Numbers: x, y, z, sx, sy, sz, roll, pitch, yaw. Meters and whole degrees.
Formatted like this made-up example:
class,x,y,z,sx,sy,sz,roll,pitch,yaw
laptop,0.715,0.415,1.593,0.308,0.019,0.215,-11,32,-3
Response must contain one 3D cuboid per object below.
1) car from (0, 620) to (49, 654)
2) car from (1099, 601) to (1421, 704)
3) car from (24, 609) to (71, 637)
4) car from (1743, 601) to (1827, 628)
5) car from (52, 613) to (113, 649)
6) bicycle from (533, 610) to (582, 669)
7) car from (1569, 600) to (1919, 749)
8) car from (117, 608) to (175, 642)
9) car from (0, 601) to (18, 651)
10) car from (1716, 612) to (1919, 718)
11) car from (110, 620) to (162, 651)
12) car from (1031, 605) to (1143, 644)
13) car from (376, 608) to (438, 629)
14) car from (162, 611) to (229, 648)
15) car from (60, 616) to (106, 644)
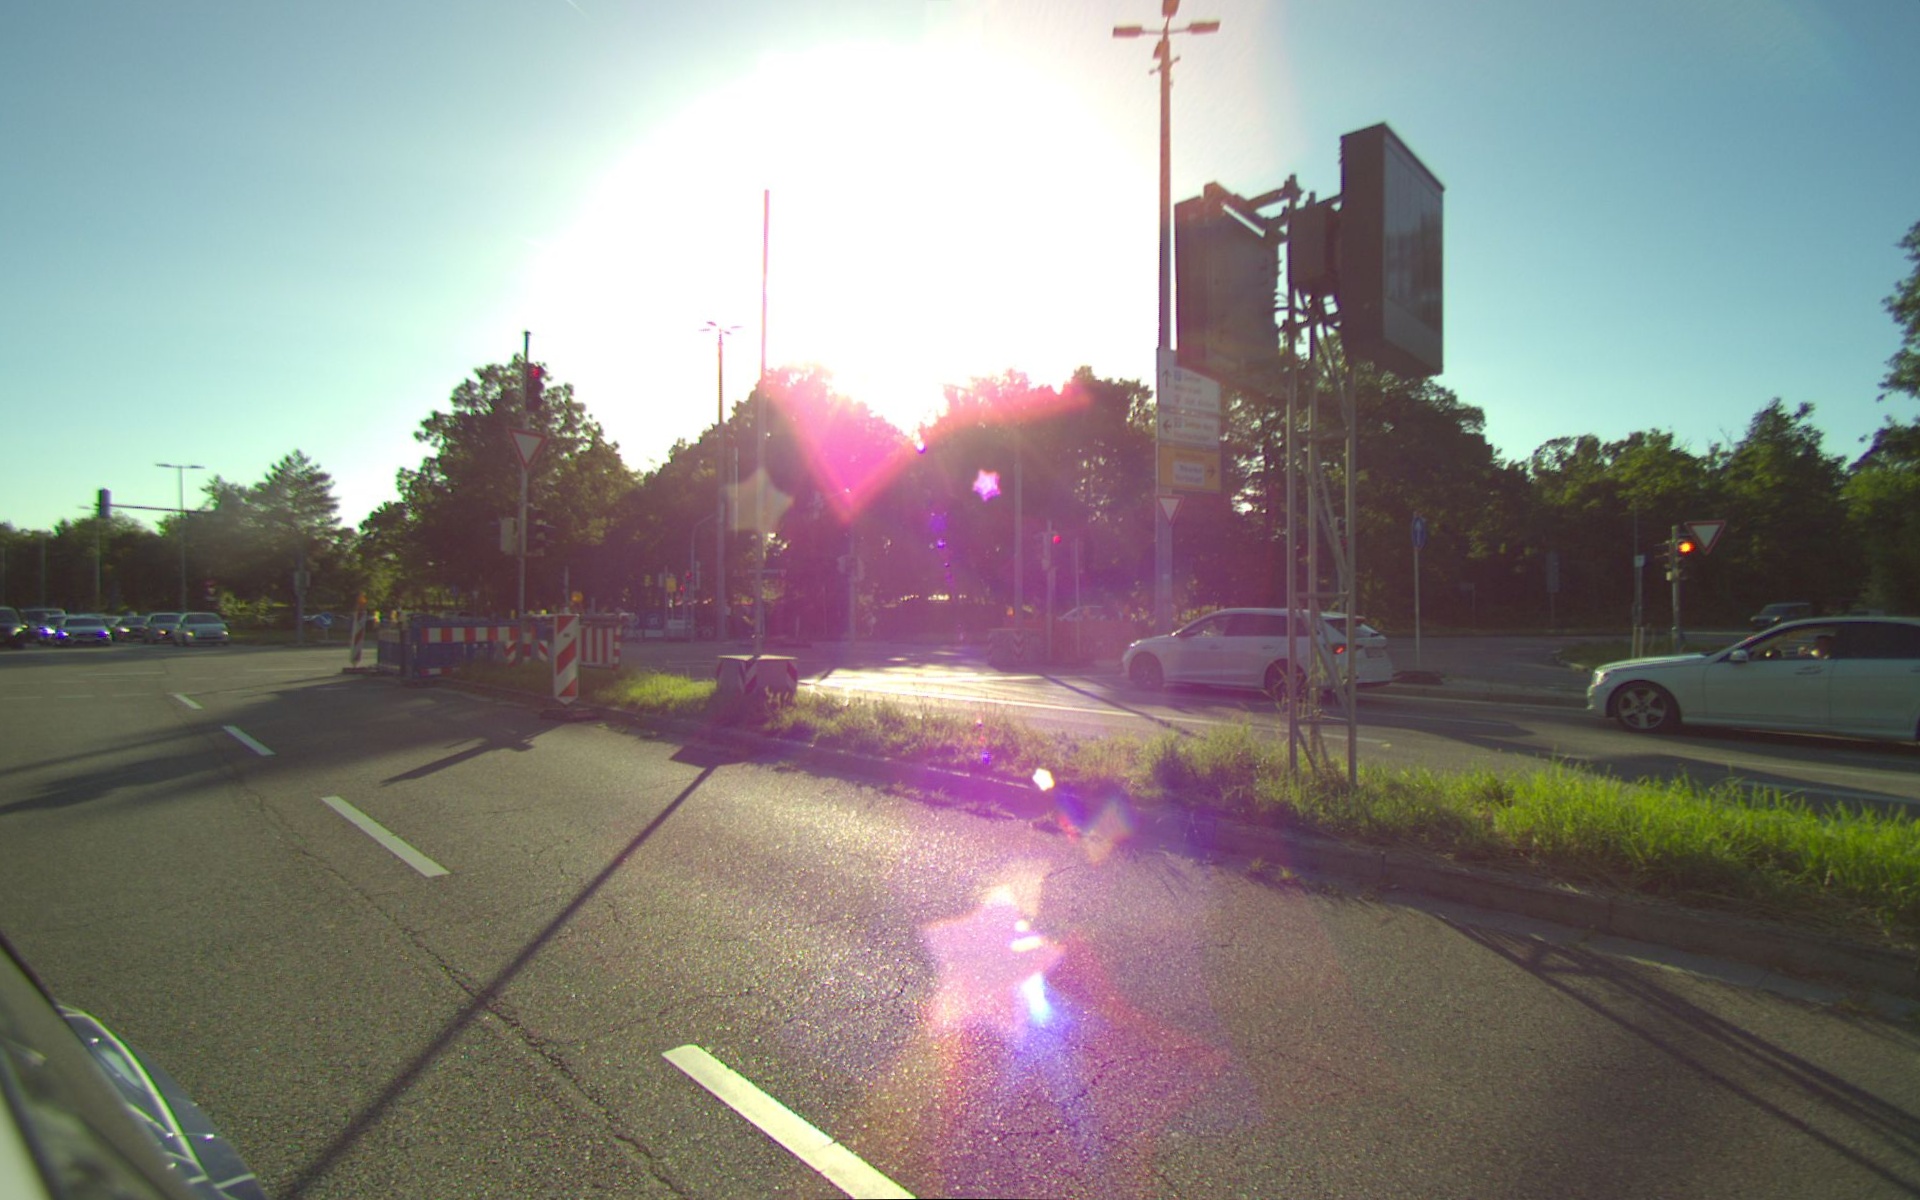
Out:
class,x,y,z,sx,sy,sz,roll,pitch,yaw
car,-47.480,1.865,51.201,1.970,1.530,4.004,-1,1,-43
car,4.842,0.795,16.906,1.970,1.462,4.847,2,-2,-43
car,-54.009,1.330,59.885,1.970,1.530,4.004,-1,1,-43
car,53.766,0.911,65.966,4.661,1.699,2.006,0,-1,-19
car,-40.847,1.406,47.083,1.970,1.530,4.004,-1,1,-43
bicycle,-6.635,0.636,16.653,0.334,0.912,1.349,-1,1,-40
car,9.671,0.766,11.199,1.969,1.462,4.655,2,-2,-41
car,-40.697,1.223,50.577,1.970,1.530,4.004,-1,1,-43
car,-42.435,1.122,44.138,1.970,2.084,4.004,-1,1,-43
car,14.101,0.906,14.864,1.967,1.462,4.658,0,-1,-11
car,-46.128,1.954,56.608,1.970,1.530,4.004,-1,1,-43
car,5.770,1.100,46.066,4.661,1.699,2.006,0,-1,-19
car,-45.044,1.478,82.526,1.995,1.530,3.953,0,1,35
car,-33.793,1.274,44.703,1.970,1.530,4.004,0,-1,-43
car,-53.509,1.801,61.718,1.970,1.530,4.004,-1,1,-43
